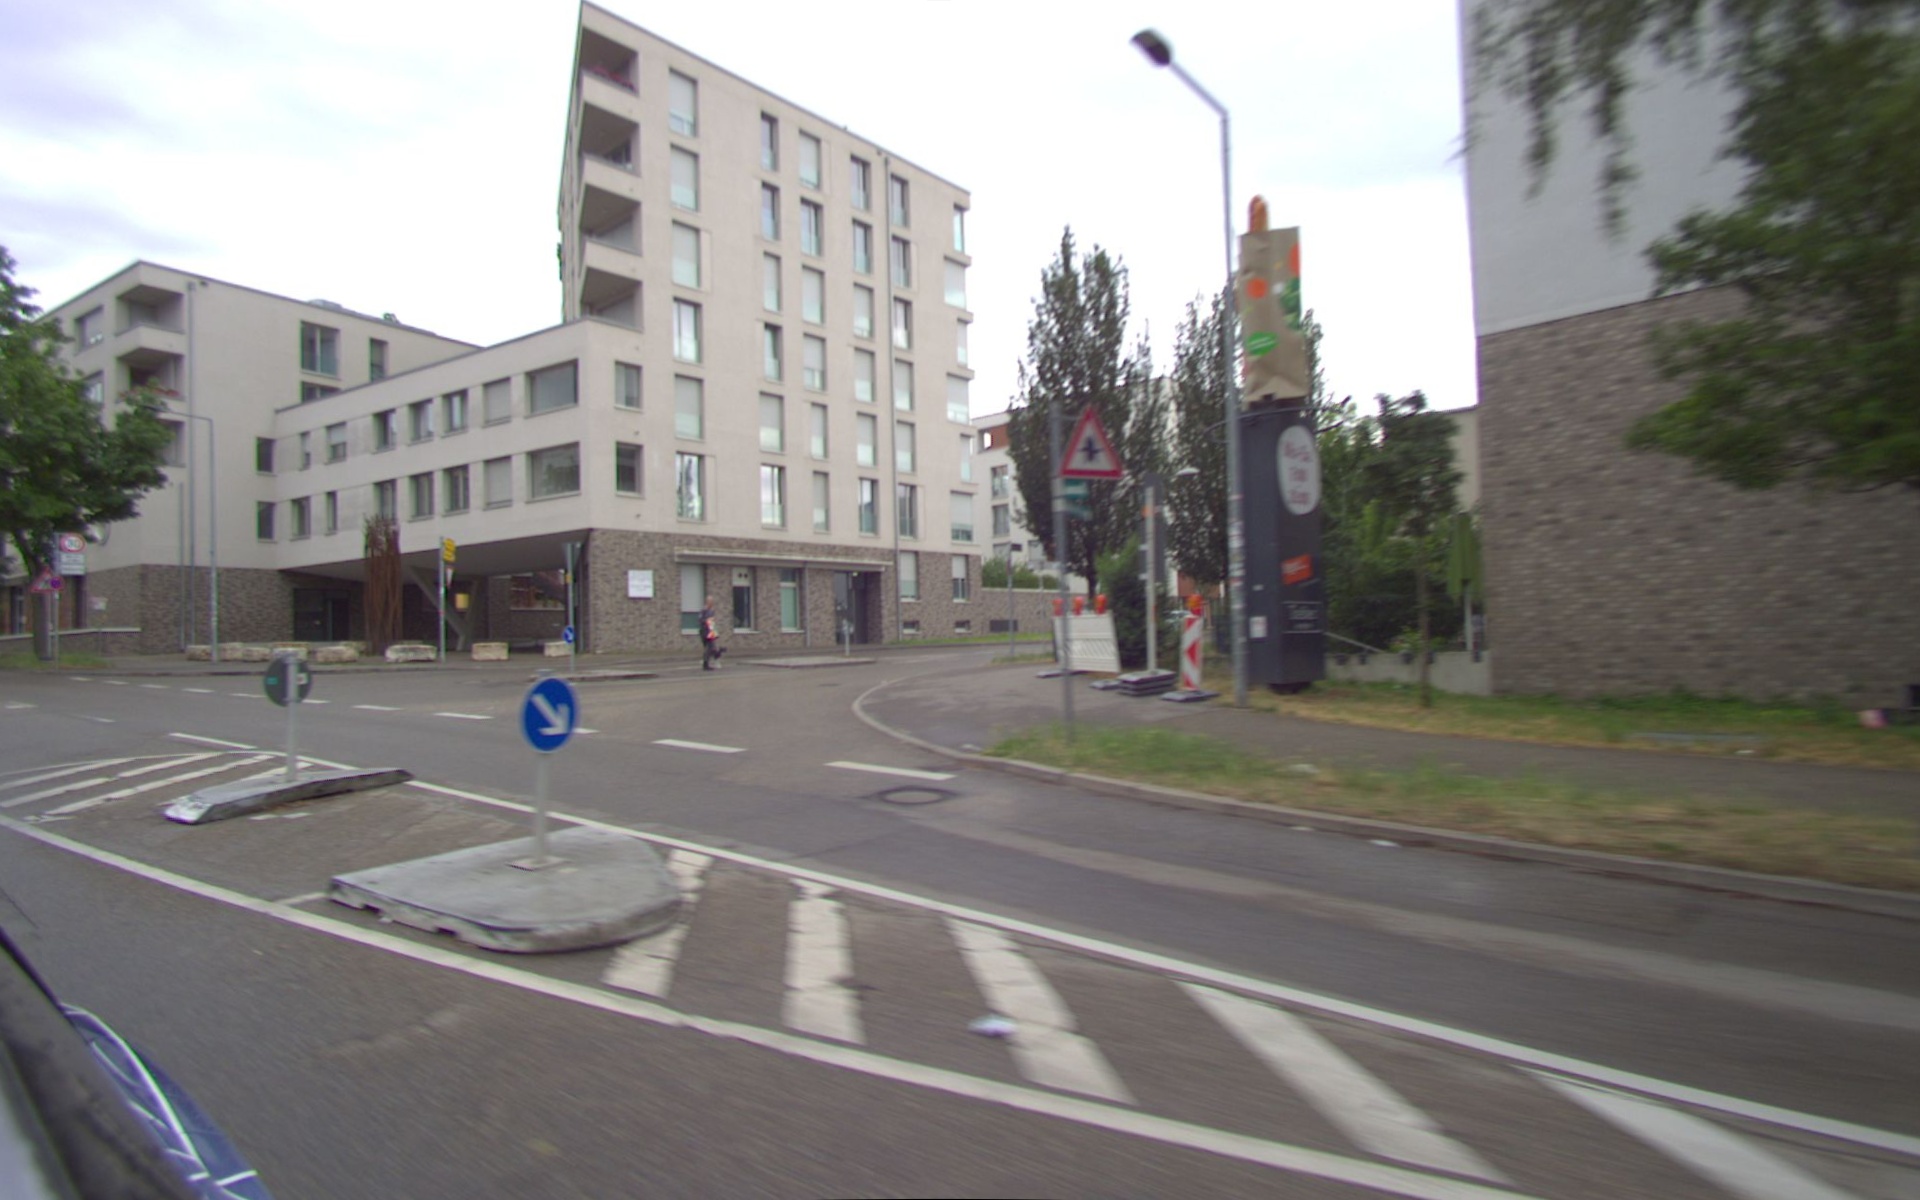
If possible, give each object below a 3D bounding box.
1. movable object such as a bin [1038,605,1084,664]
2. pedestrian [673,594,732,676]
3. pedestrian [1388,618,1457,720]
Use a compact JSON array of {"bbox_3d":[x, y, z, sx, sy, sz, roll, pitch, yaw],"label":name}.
[{"bbox_3d":[2.379,0.809,23.895,0.821,1.373,0.709,-1,-2,37],"label":"movable object such as a bin"},{"bbox_3d":[-6.575,0.878,25.874,1.089,2.029,1.054,0,0,14],"label":"pedestrian"},{"bbox_3d":[9.536,1.392,20.862,1.115,2.029,0.875,-1,0,35],"label":"pedestrian"}]
